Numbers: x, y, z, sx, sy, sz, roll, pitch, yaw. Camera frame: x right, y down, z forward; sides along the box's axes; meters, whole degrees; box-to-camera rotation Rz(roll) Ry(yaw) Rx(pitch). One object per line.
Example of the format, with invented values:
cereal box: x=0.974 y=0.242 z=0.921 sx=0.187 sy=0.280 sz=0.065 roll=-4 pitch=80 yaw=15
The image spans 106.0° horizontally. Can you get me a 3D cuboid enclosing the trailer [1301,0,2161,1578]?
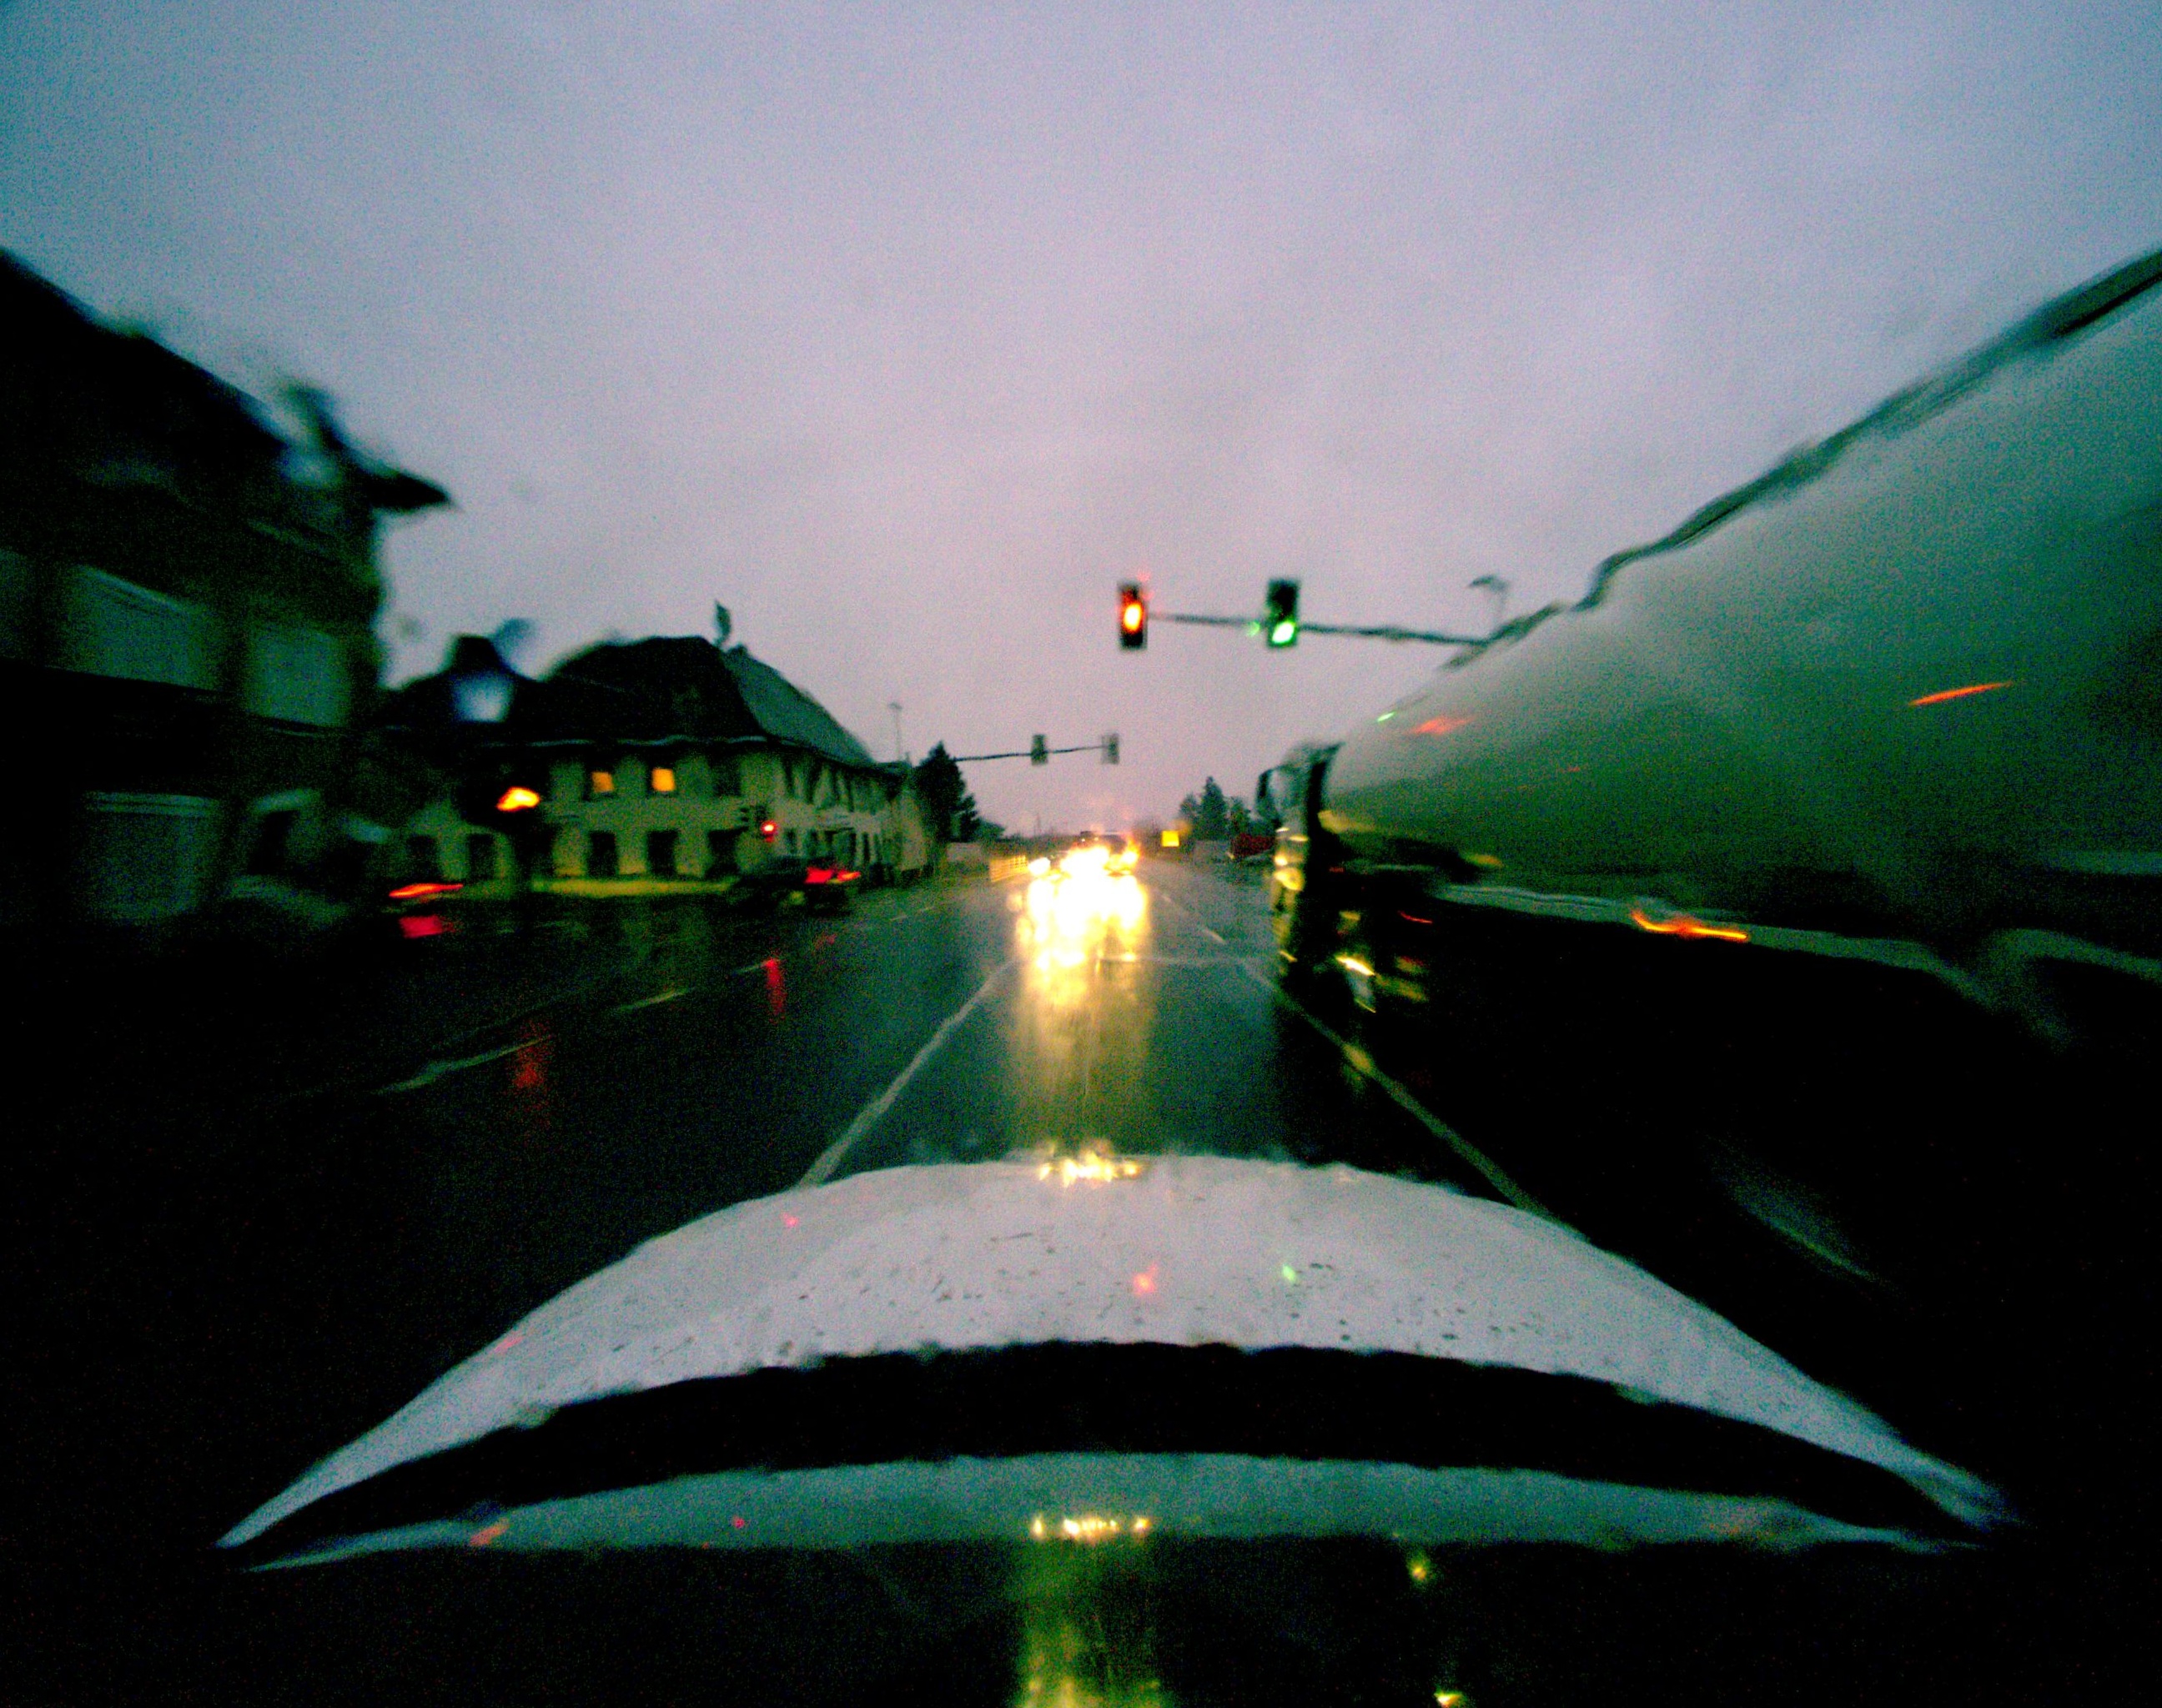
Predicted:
trailer: x=3.520 y=-0.158 z=3.670 sx=2.478 sy=3.240 sz=10.874 roll=-1 pitch=0 yaw=2

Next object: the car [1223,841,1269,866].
car: x=14.806 y=-0.074 z=73.101 sx=3.960 sy=2.013 sz=2.007 roll=-3 pitch=0 yaw=11

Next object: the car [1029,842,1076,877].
car: x=-1.524 y=0.265 z=44.853 sx=1.984 sy=1.746 sz=4.006 roll=-3 pitch=0 yaw=5

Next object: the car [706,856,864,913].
car: x=-9.177 y=0.936 z=25.193 sx=4.642 sy=1.572 sz=2.067 roll=-2 pitch=0 yaw=31

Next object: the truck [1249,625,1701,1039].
truck: x=3.744 y=-0.187 z=9.549 sx=2.452 sy=3.229 sz=6.276 roll=-1 pitch=0 yaw=2

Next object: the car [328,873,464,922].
car: x=-23.318 y=1.460 z=27.801 sx=3.210 sy=1.508 sz=1.547 roll=0 pitch=1 yaw=-4

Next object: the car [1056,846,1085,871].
car: x=-0.726 y=0.333 z=60.568 sx=1.713 sy=1.723 sz=3.933 roll=-2 pitch=-1 yaw=5

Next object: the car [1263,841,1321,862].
car: x=17.881 y=-0.223 z=69.106 sx=4.503 sy=1.530 sz=1.781 roll=-3 pitch=0 yaw=6

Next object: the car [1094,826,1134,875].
car: x=2.037 y=-0.229 z=51.609 sx=2.392 sy=2.892 sz=6.252 roll=1 pitch=0 yaw=1

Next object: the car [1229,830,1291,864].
car: x=16.738 y=-0.656 z=76.265 sx=5.244 sy=2.870 sz=1.774 roll=-3 pitch=0 yaw=-5
